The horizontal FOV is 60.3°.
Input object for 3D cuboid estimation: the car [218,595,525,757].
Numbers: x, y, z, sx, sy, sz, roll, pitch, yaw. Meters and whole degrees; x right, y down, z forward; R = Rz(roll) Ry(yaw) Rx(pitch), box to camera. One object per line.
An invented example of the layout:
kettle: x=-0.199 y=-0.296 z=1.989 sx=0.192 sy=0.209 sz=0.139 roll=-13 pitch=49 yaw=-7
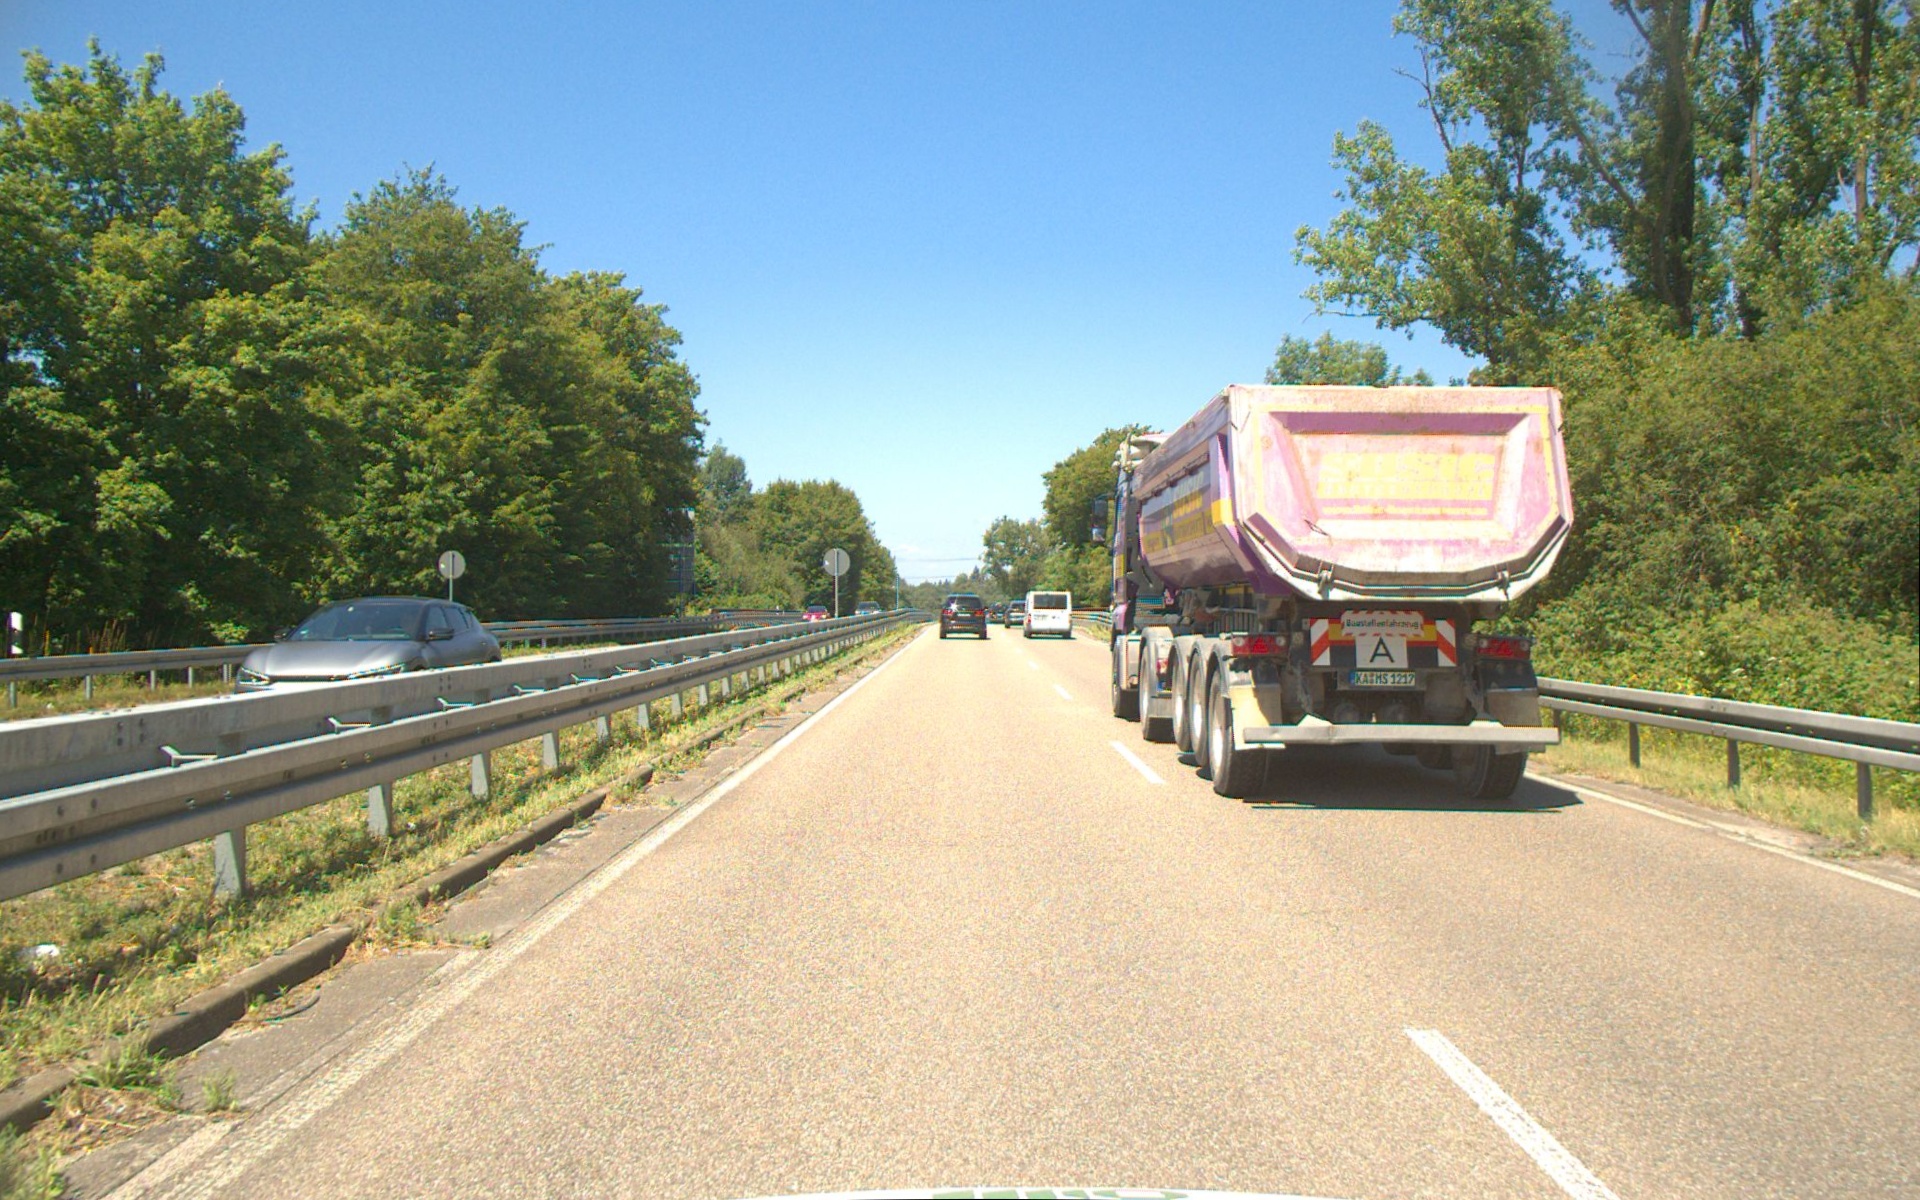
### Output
car: x=-6.789 y=0.802 z=19.678 sx=1.952 sy=1.660 sz=4.553 roll=-1 pitch=0 yaw=1

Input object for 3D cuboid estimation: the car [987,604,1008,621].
car: x=3.287 y=1.117 z=145.618 sx=1.571 sy=1.445 sz=3.521 roll=-1 pitch=0 yaw=-2

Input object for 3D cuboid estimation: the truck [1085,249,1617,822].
truck: x=3.229 y=-0.435 z=17.822 sx=2.665 sy=3.999 sz=12.368 roll=1 pitch=0 yaw=-1

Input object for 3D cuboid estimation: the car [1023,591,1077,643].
car: x=3.850 y=0.720 z=71.364 sx=1.953 sy=2.113 sz=3.999 roll=-1 pitch=0 yaw=-2

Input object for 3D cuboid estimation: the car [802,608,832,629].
car: x=-10.154 y=1.274 z=117.426 sx=1.760 sy=1.415 sz=3.999 roll=-1 pitch=0 yaw=0

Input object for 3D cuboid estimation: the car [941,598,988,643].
car: x=0.144 y=0.848 z=67.115 sx=1.820 sy=1.701 sz=3.999 roll=1 pitch=-2 yaw=-1

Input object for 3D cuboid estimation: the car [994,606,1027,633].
car: x=2.819 y=1.068 z=92.702 sx=1.571 sy=1.445 sz=3.521 roll=-1 pitch=0 yaw=-2

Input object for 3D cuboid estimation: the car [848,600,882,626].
car: x=-6.708 y=0.910 z=117.223 sx=1.952 sy=1.825 sz=4.748 roll=-1 pitch=0 yaw=1
